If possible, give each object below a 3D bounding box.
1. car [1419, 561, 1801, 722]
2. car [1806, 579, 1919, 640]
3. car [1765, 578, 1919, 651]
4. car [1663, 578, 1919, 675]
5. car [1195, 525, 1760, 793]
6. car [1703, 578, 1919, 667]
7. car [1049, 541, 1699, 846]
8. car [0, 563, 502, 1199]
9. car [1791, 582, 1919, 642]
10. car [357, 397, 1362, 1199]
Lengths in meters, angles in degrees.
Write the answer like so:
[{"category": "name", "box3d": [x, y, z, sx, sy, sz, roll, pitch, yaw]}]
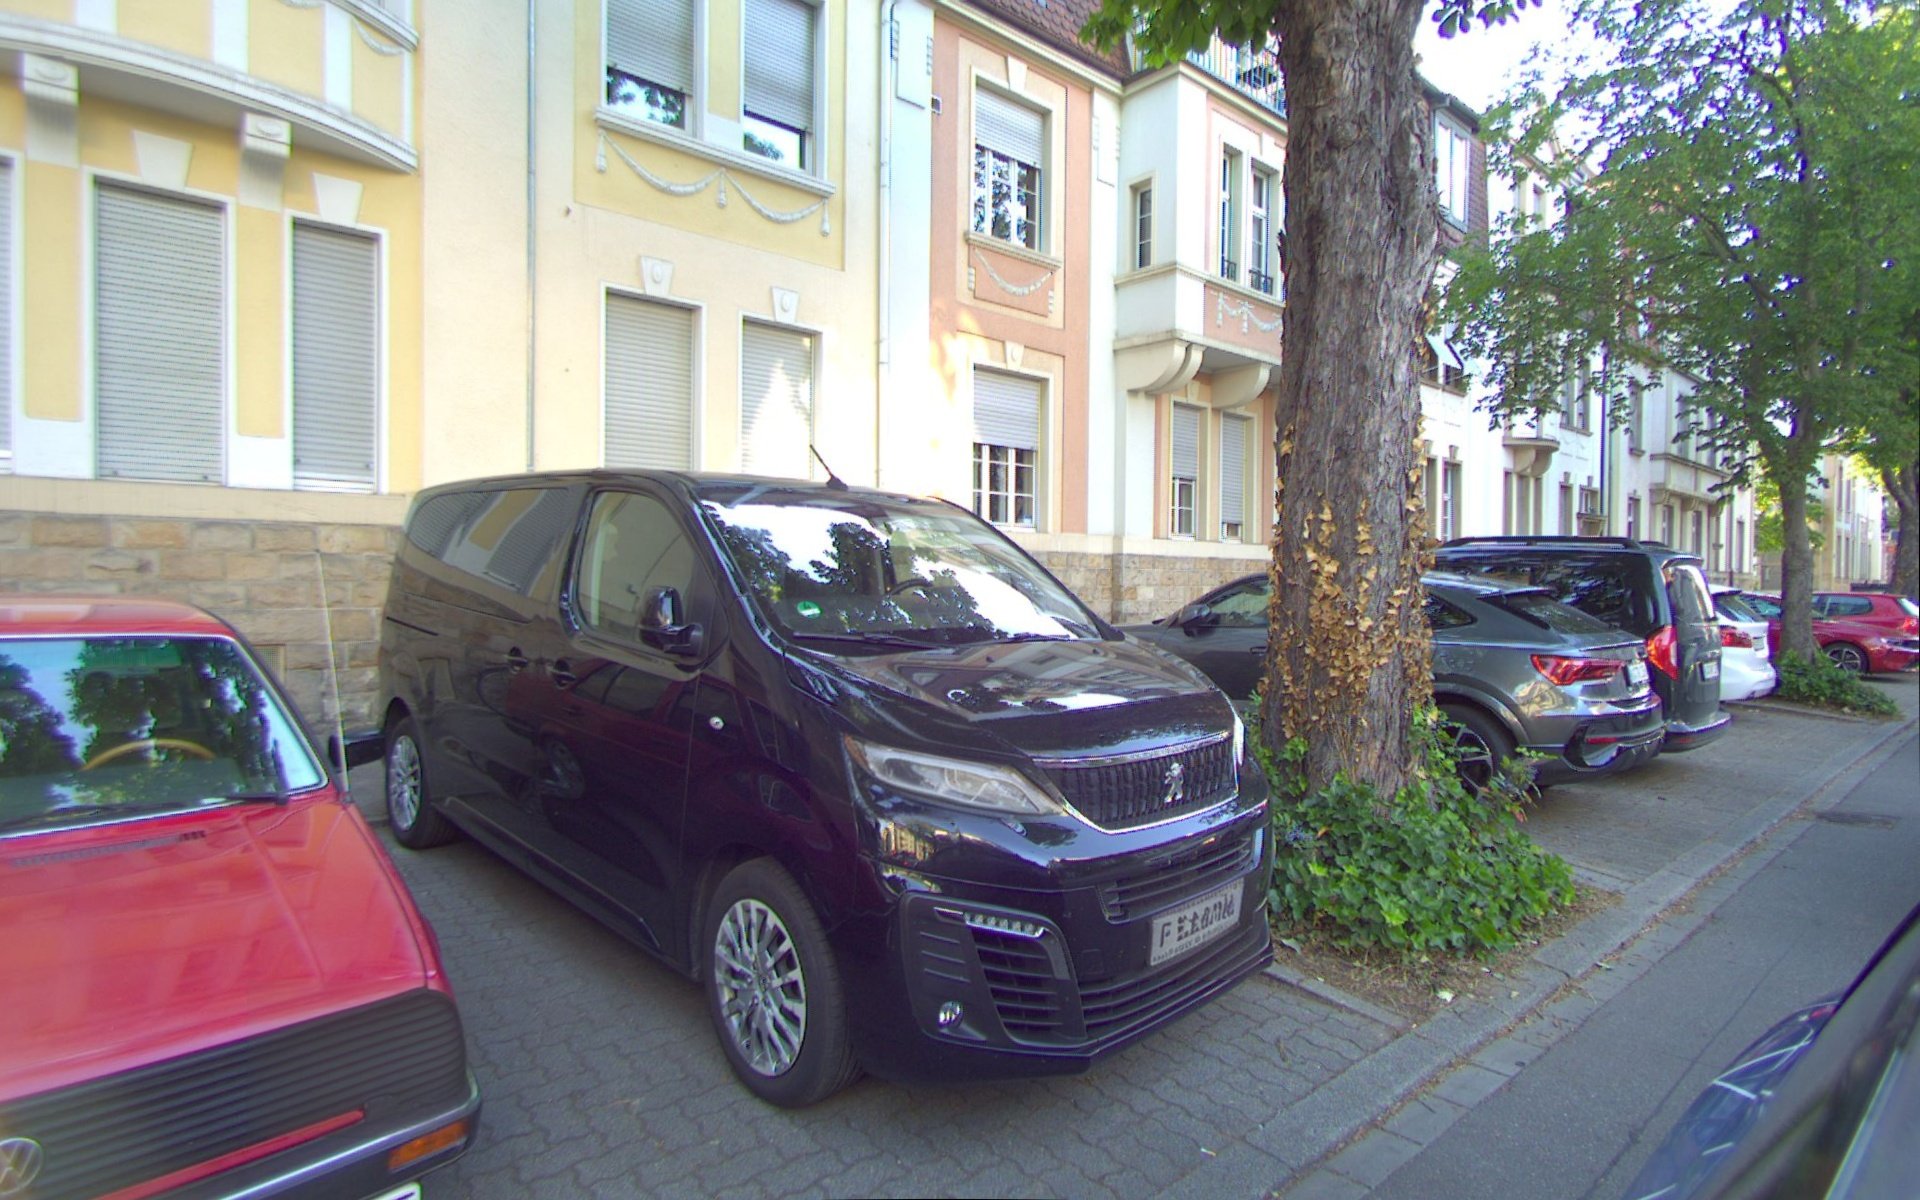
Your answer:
[{"category": "car", "box3d": [7.733, 0.374, 12.265, 1.513, 1.569, 3.616, -1, 3, -45]}, {"category": "car", "box3d": [25.936, 0.261, 28.017, 1.511, 1.584, 3.621, 0, 2, -40]}, {"category": "car", "box3d": [21.622, 0.311, 24.088, 1.511, 1.584, 3.621, 0, 2, -40]}, {"category": "car", "box3d": [14.946, 0.399, 18.090, 1.511, 1.420, 3.621, 0, 3, -40]}, {"category": "car", "box3d": [4.334, 0.285, 9.004, 1.569, 1.849, 4.165, -1, 4, -44]}, {"category": "car", "box3d": [16.864, 0.378, 19.665, 1.511, 1.482, 3.621, 0, 3, -40]}, {"category": "car", "box3d": [2.772, 0.407, 7.527, 1.569, 1.611, 4.165, -1, 4, -44]}, {"category": "car", "box3d": [-2.810, 0.612, 2.971, 1.532, 1.336, 3.917, -1, 4, -43]}, {"category": "car", "box3d": [23.960, 0.297, 26.137, 1.511, 1.420, 3.621, 0, 3, -40]}, {"category": "car", "box3d": [-0.991, 0.350, 4.528, 1.851, 1.846, 4.825, -1, 4, -44]}]
